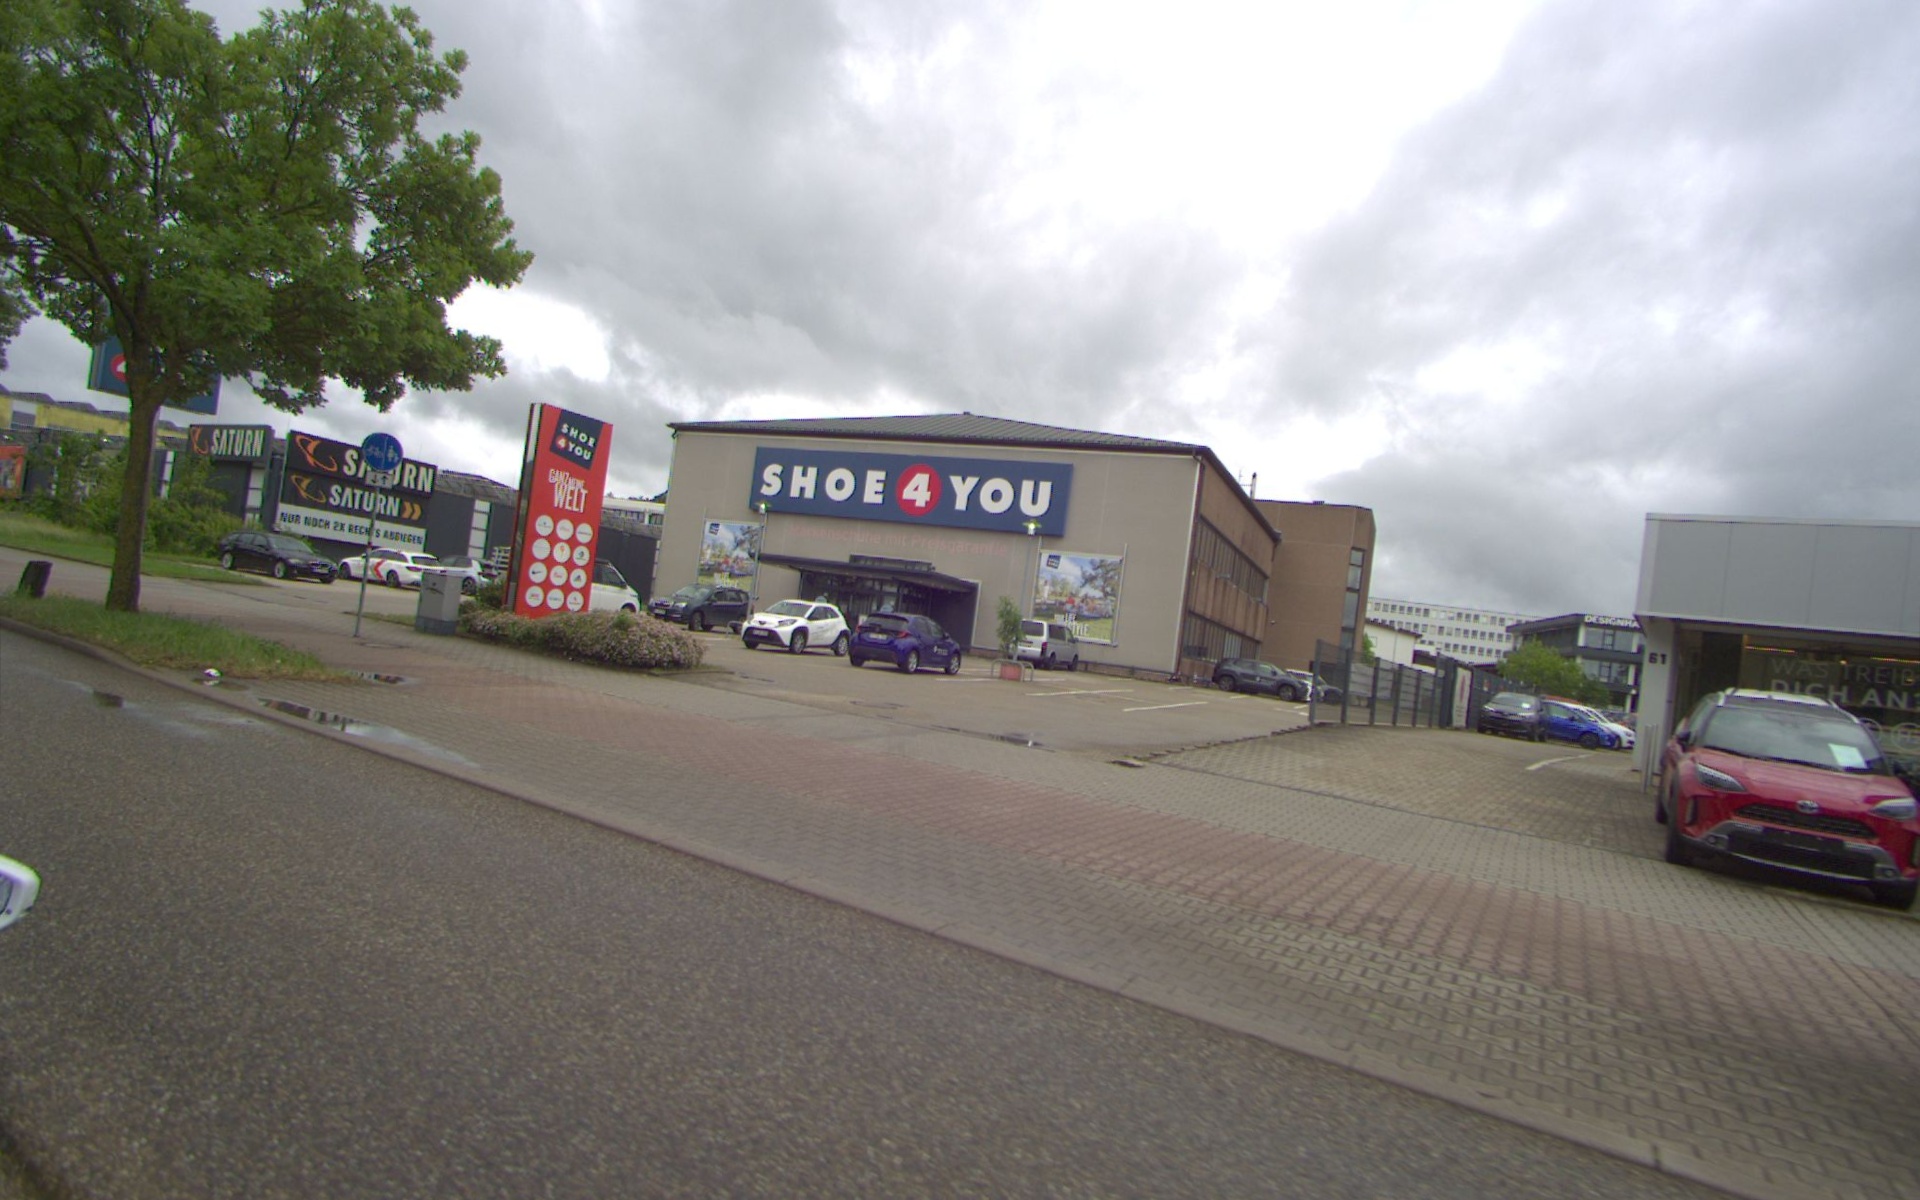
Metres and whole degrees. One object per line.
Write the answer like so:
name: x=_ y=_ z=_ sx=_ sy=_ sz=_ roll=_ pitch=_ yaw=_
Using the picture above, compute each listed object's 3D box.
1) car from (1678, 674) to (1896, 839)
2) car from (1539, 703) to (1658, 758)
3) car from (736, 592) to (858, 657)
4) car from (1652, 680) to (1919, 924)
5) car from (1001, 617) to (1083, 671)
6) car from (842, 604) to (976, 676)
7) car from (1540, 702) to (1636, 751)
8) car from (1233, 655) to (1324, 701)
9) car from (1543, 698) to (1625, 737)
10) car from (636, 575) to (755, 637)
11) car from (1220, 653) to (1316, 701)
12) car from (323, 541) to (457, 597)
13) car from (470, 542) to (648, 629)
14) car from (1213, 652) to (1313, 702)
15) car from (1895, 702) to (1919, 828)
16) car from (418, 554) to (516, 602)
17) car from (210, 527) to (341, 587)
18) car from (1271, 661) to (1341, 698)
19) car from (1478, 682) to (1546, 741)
car: x=11.018 y=1.973 z=13.640 sx=1.852 sy=1.642 sz=4.107 roll=7 pitch=0 yaw=37
car: x=22.984 y=4.690 z=36.313 sx=3.434 sy=1.380 sz=1.464 roll=6 pitch=-3 yaw=33
car: x=-4.690 y=0.763 z=29.452 sx=1.646 sy=1.532 sz=3.651 roll=7 pitch=-2 yaw=24
car: x=7.976 y=1.737 z=9.807 sx=1.766 sy=1.624 sz=3.842 roll=7 pitch=1 yaw=33
car: x=3.498 y=1.890 z=42.233 sx=1.901 sy=1.882 sz=4.257 roll=7 pitch=-2 yaw=25
car: x=-1.267 y=1.114 z=26.666 sx=1.728 sy=1.532 sz=3.999 roll=7 pitch=-2 yaw=25
car: x=25.466 y=5.111 z=40.862 sx=3.098 sy=1.471 sz=1.336 roll=6 pitch=-3 yaw=33
car: x=15.778 y=3.861 z=49.855 sx=3.930 sy=1.686 sz=1.672 roll=7 pitch=-1 yaw=27
car: x=30.780 y=5.803 z=49.703 sx=3.282 sy=1.385 sz=1.336 roll=6 pitch=-3 yaw=33
car: x=-9.375 y=0.268 z=36.029 sx=1.711 sy=1.750 sz=4.258 roll=7 pitch=-2 yaw=24
car: x=14.544 y=3.644 z=47.553 sx=3.930 sy=1.686 sz=1.672 roll=7 pitch=-1 yaw=27
car: x=-22.292 y=-1.200 z=39.303 sx=4.862 sy=1.485 sz=1.887 roll=7 pitch=-1 yaw=23
car: x=-11.913 y=-0.363 z=30.302 sx=1.954 sy=2.037 sz=4.837 roll=6 pitch=-2 yaw=23
car: x=13.668 y=3.477 z=45.423 sx=3.930 sy=1.686 sz=1.672 roll=7 pitch=-1 yaw=27
car: x=14.593 y=2.394 z=12.430 sx=4.057 sy=1.642 sz=1.875 roll=6 pitch=0 yaw=34
car: x=-20.303 y=-0.905 z=41.419 sx=3.522 sy=1.458 sz=1.585 roll=7 pitch=-1 yaw=23
car: x=-23.196 y=-1.458 z=34.083 sx=4.188 sy=1.445 sz=1.583 roll=7 pitch=-1 yaw=23
car: x=20.895 y=4.799 z=60.688 sx=3.636 sy=1.686 sz=1.672 roll=7 pitch=-1 yaw=27
car: x=19.033 y=3.852 z=34.629 sx=1.758 sy=1.662 sz=3.659 roll=7 pitch=-2 yaw=31
